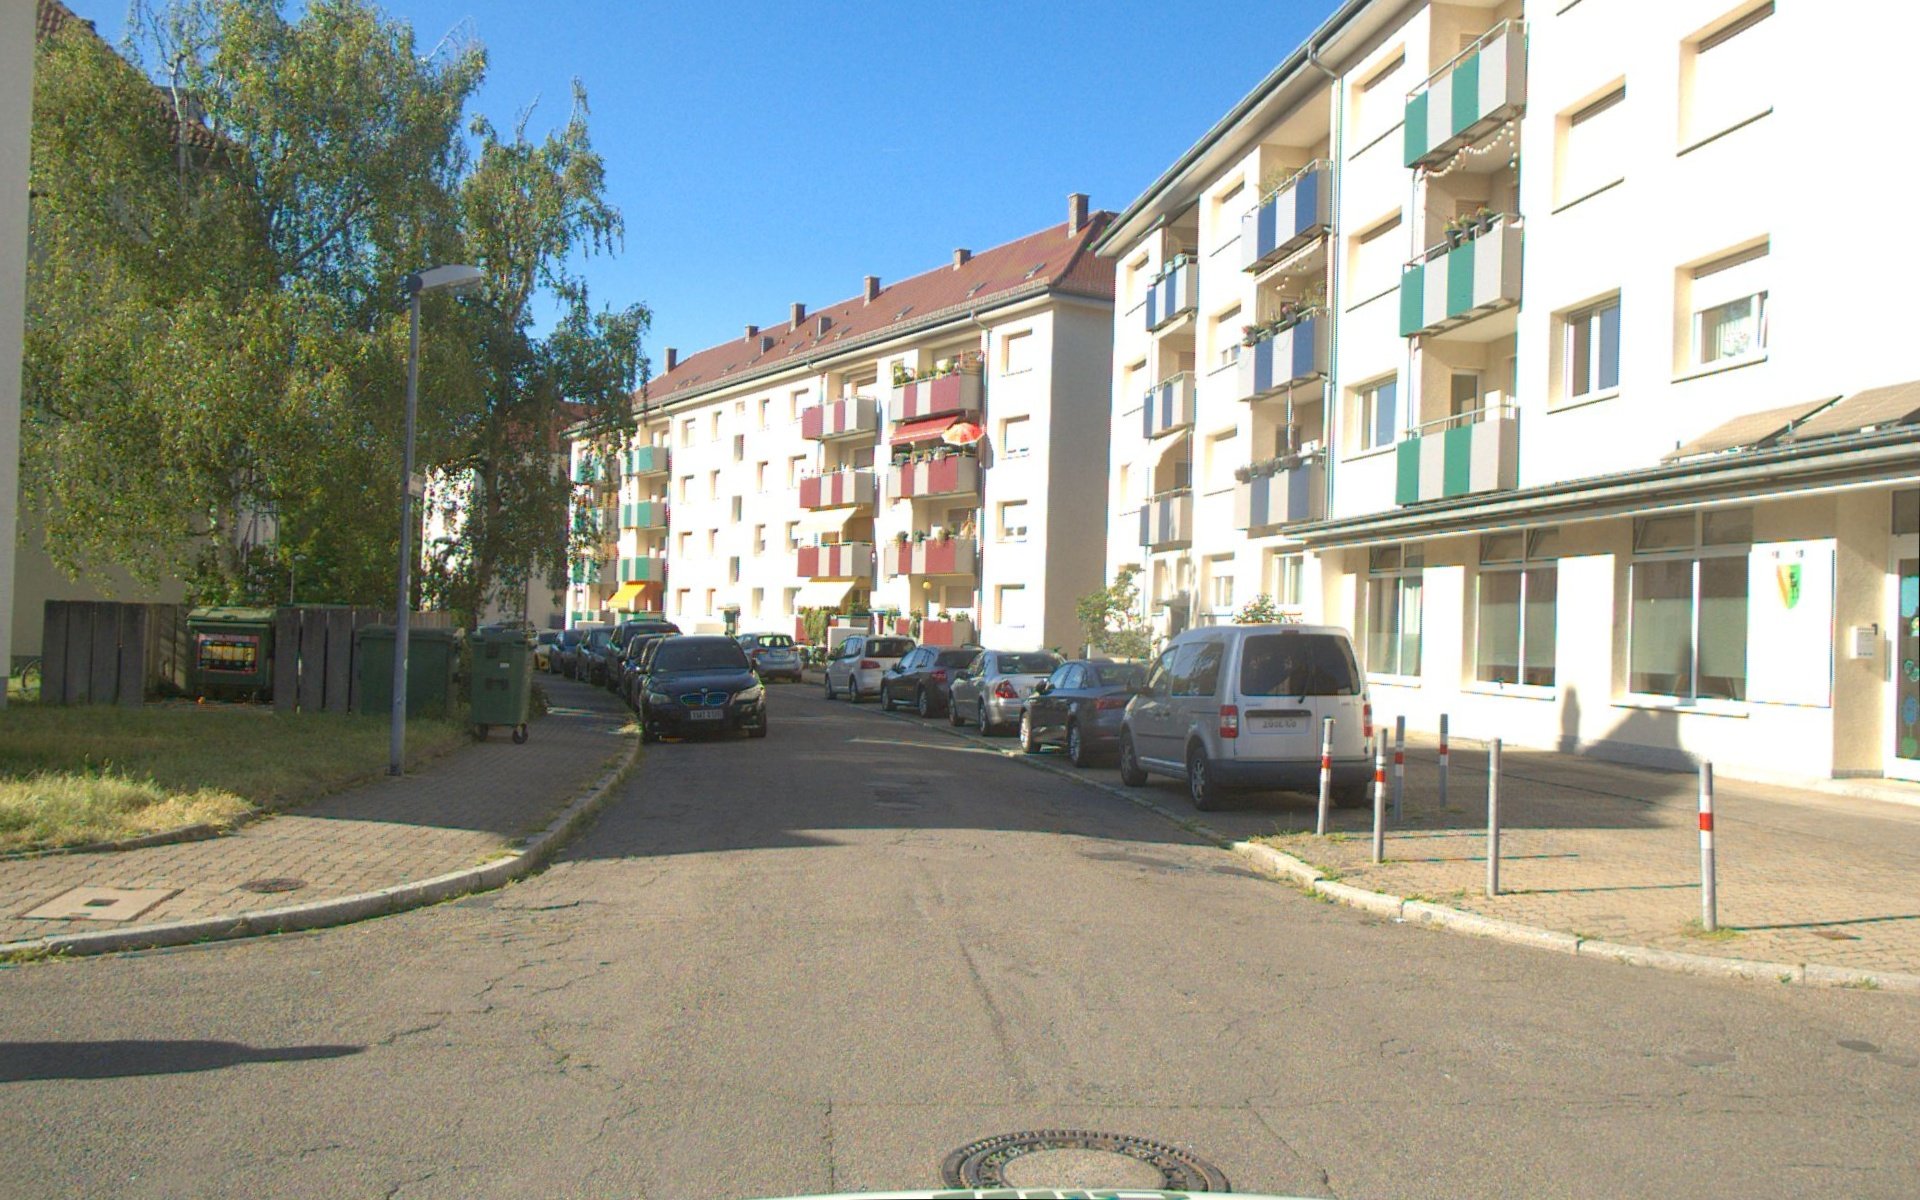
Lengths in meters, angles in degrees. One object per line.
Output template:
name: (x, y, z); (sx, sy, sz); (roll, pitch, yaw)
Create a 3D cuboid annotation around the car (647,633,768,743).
car: (-3.942, 1.275, 25.467); (1.647, 1.478, 4.609); (-1, -1, -10)

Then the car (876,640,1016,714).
car: (-0.382, 1.594, 35.281); (1.668, 1.457, 4.662); (0, -1, -18)

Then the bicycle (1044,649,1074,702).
bicycle: (2.432, 1.846, 40.767); (0.504, 1.224, 1.759); (0, -1, -4)

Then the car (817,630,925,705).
car: (-2.302, 1.650, 41.719); (1.667, 1.684, 4.368); (1, 0, -18)

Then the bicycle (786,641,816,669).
bicycle: (-5.998, 2.059, 62.332); (0.492, 1.038, 1.825); (0, -1, -27)

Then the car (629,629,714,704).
car: (-6.290, 1.389, 35.786); (1.529, 1.468, 3.953); (-1, -1, -14)

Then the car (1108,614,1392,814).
car: (2.963, 1.109, 17.825); (1.715, 1.856, 4.121); (-1, -1, -10)

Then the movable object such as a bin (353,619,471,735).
movable object such as a bin: (-6.985, 0.973, 21.125); (1.195, 1.404, 0.767); (2, -1, -3)

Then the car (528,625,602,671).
car: (-13.295, 1.592, 55.548); (1.672, 1.413, 4.125); (2, -1, -24)

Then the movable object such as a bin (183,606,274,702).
movable object such as a bin: (-11.369, 0.824, 25.737); (1.040, 1.460, 1.001); (0, -1, -8)

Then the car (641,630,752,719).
car: (-4.937, 1.315, 30.587); (1.650, 1.468, 4.264); (-1, -1, -14)

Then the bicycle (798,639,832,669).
bicycle: (-5.525, 2.046, 62.979); (0.610, 0.995, 1.879); (-1, 2, -27)

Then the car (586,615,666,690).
car: (-8.436, 1.295, 41.576); (1.531, 1.744, 4.316); (-1, -1, -17)

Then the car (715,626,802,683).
car: (-6.579, 1.730, 53.694); (1.743, 1.664, 4.010); (0, 1, -24)

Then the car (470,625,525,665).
car: (-18.754, 1.810, 67.006); (1.461, 1.503, 3.599); (-2, 0, -27)

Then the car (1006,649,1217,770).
car: (2.016, 1.478, 23.411); (1.649, 1.432, 4.530); (2, -1, -13)

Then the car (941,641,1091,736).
car: (0.898, 1.524, 29.576); (1.648, 1.472, 4.711); (2, -1, -11)

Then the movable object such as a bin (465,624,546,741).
movable object such as a bin: (-5.705, 1.017, 20.826); (0.761, 1.417, 1.415); (1, -1, -7)
